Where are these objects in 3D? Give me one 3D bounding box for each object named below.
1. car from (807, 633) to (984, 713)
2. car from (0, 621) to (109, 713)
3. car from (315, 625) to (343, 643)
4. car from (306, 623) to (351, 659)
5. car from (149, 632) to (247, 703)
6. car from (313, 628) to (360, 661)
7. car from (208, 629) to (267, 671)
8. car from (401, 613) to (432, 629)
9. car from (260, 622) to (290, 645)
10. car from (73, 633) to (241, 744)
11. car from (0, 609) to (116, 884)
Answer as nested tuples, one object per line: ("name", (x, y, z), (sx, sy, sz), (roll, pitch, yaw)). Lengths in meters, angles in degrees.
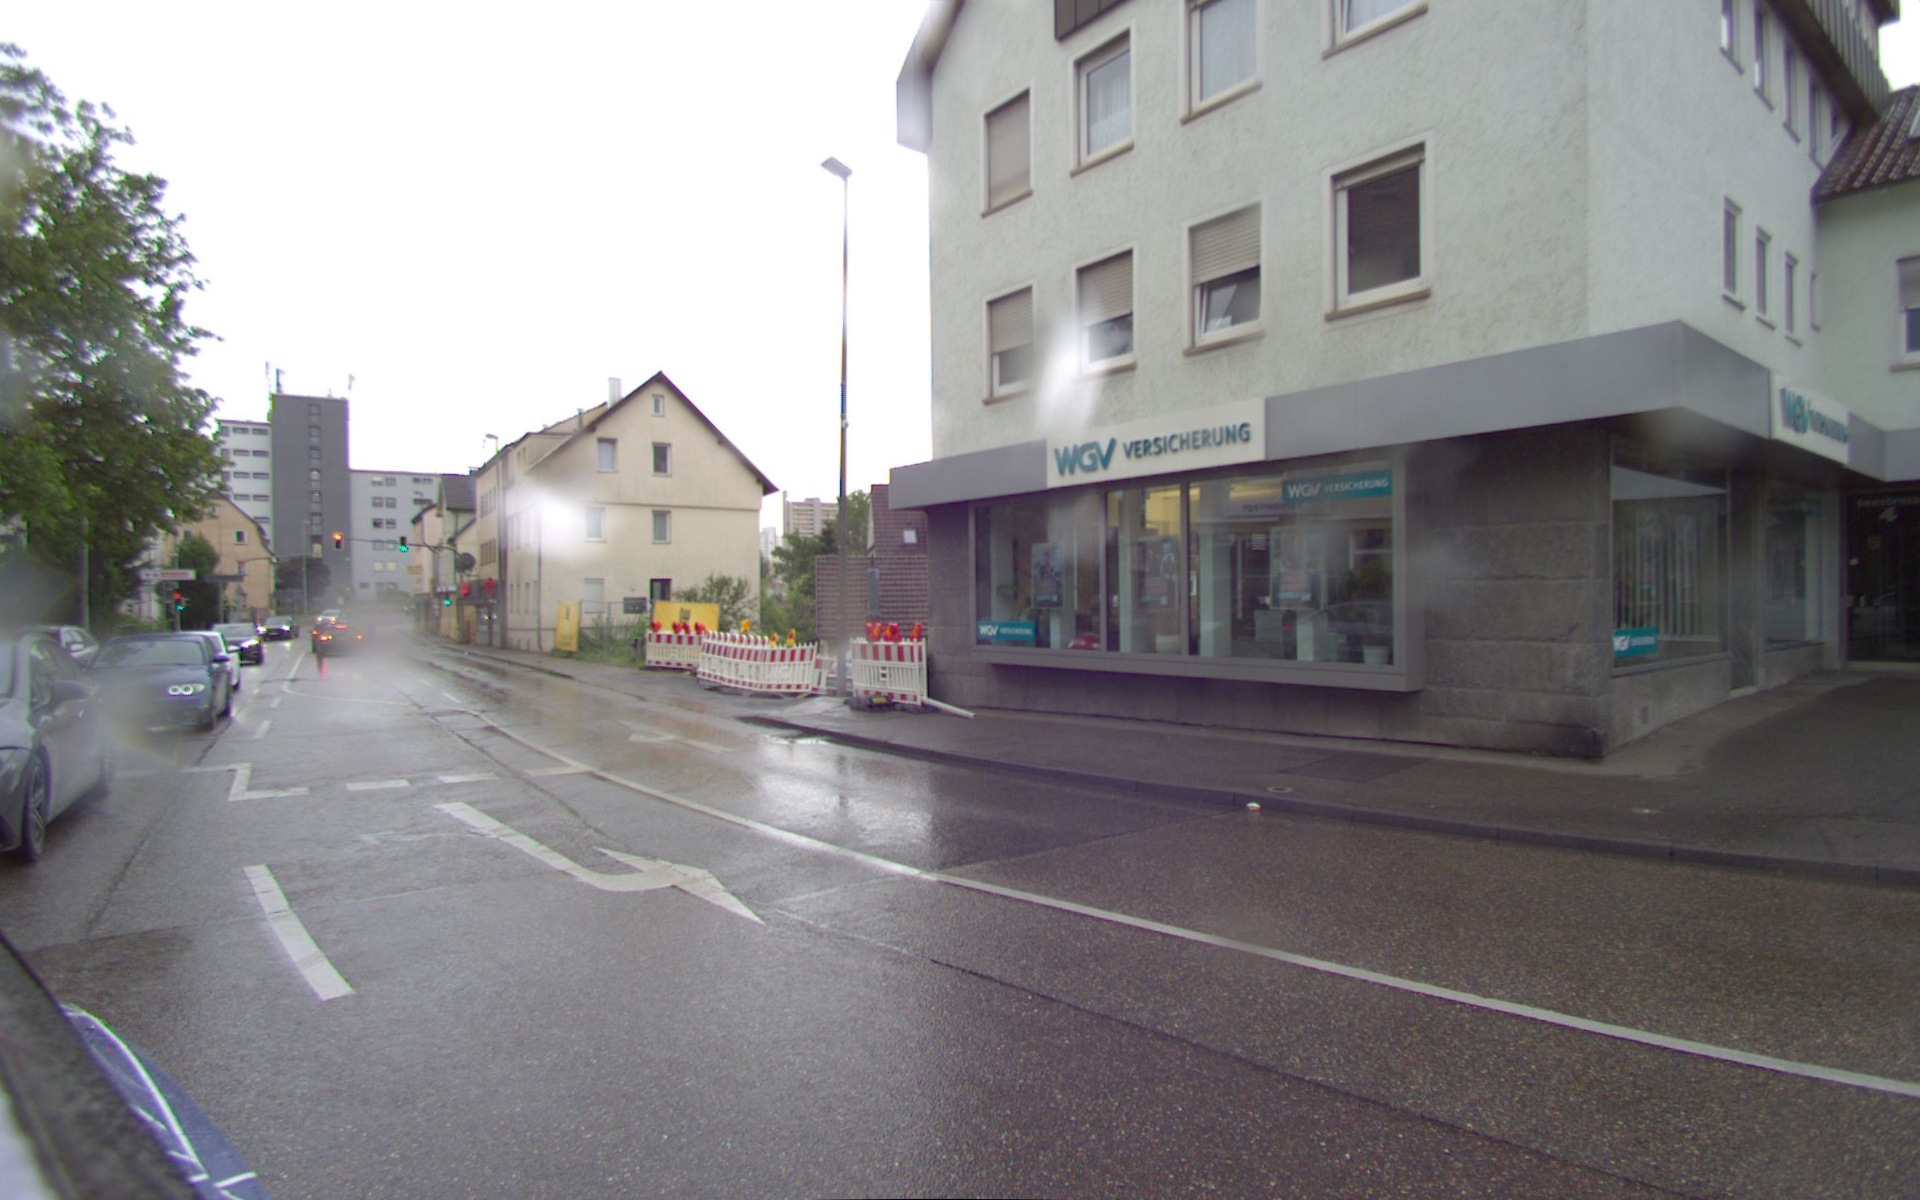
("car", (-1.339, 1.606, 21.763), (3.456, 1.401, 1.653), (10, -10, -41))
("car", (-20.085, 1.385, 21.767), (1.904, 1.794, 4.748), (0, -2, -30))
("car", (-59.390, 3.173, 95.298), (1.589, 1.515, 3.730), (-2, 0, -23))
("car", (-32.019, 2.063, 51.265), (1.791, 1.657, 4.287), (-1, -1, -34))
("car", (-17.527, 1.494, 23.410), (1.660, 1.432, 4.010), (-1, -1, -35))
("car", (-28.313, 1.987, 45.934), (1.684, 1.394, 3.679), (-1, -1, -33))
("car", (-27.778, 1.882, 38.999), (1.659, 1.472, 4.011), (-1, -1, -33))
("car", (-64.123, 2.448, 119.436), (1.768, 1.866, 3.838), (-1, -1, -3))
("car", (-48.735, 2.367, 72.091), (1.524, 1.545, 3.699), (-1, 0, -31))
("car", (-12.075, 1.238, 15.437), (1.615, 1.443, 3.816), (1, -2, -33))
("car", (-7.234, 0.909, 6.831), (1.791, 1.583, 4.287), (-1, -1, -32))
